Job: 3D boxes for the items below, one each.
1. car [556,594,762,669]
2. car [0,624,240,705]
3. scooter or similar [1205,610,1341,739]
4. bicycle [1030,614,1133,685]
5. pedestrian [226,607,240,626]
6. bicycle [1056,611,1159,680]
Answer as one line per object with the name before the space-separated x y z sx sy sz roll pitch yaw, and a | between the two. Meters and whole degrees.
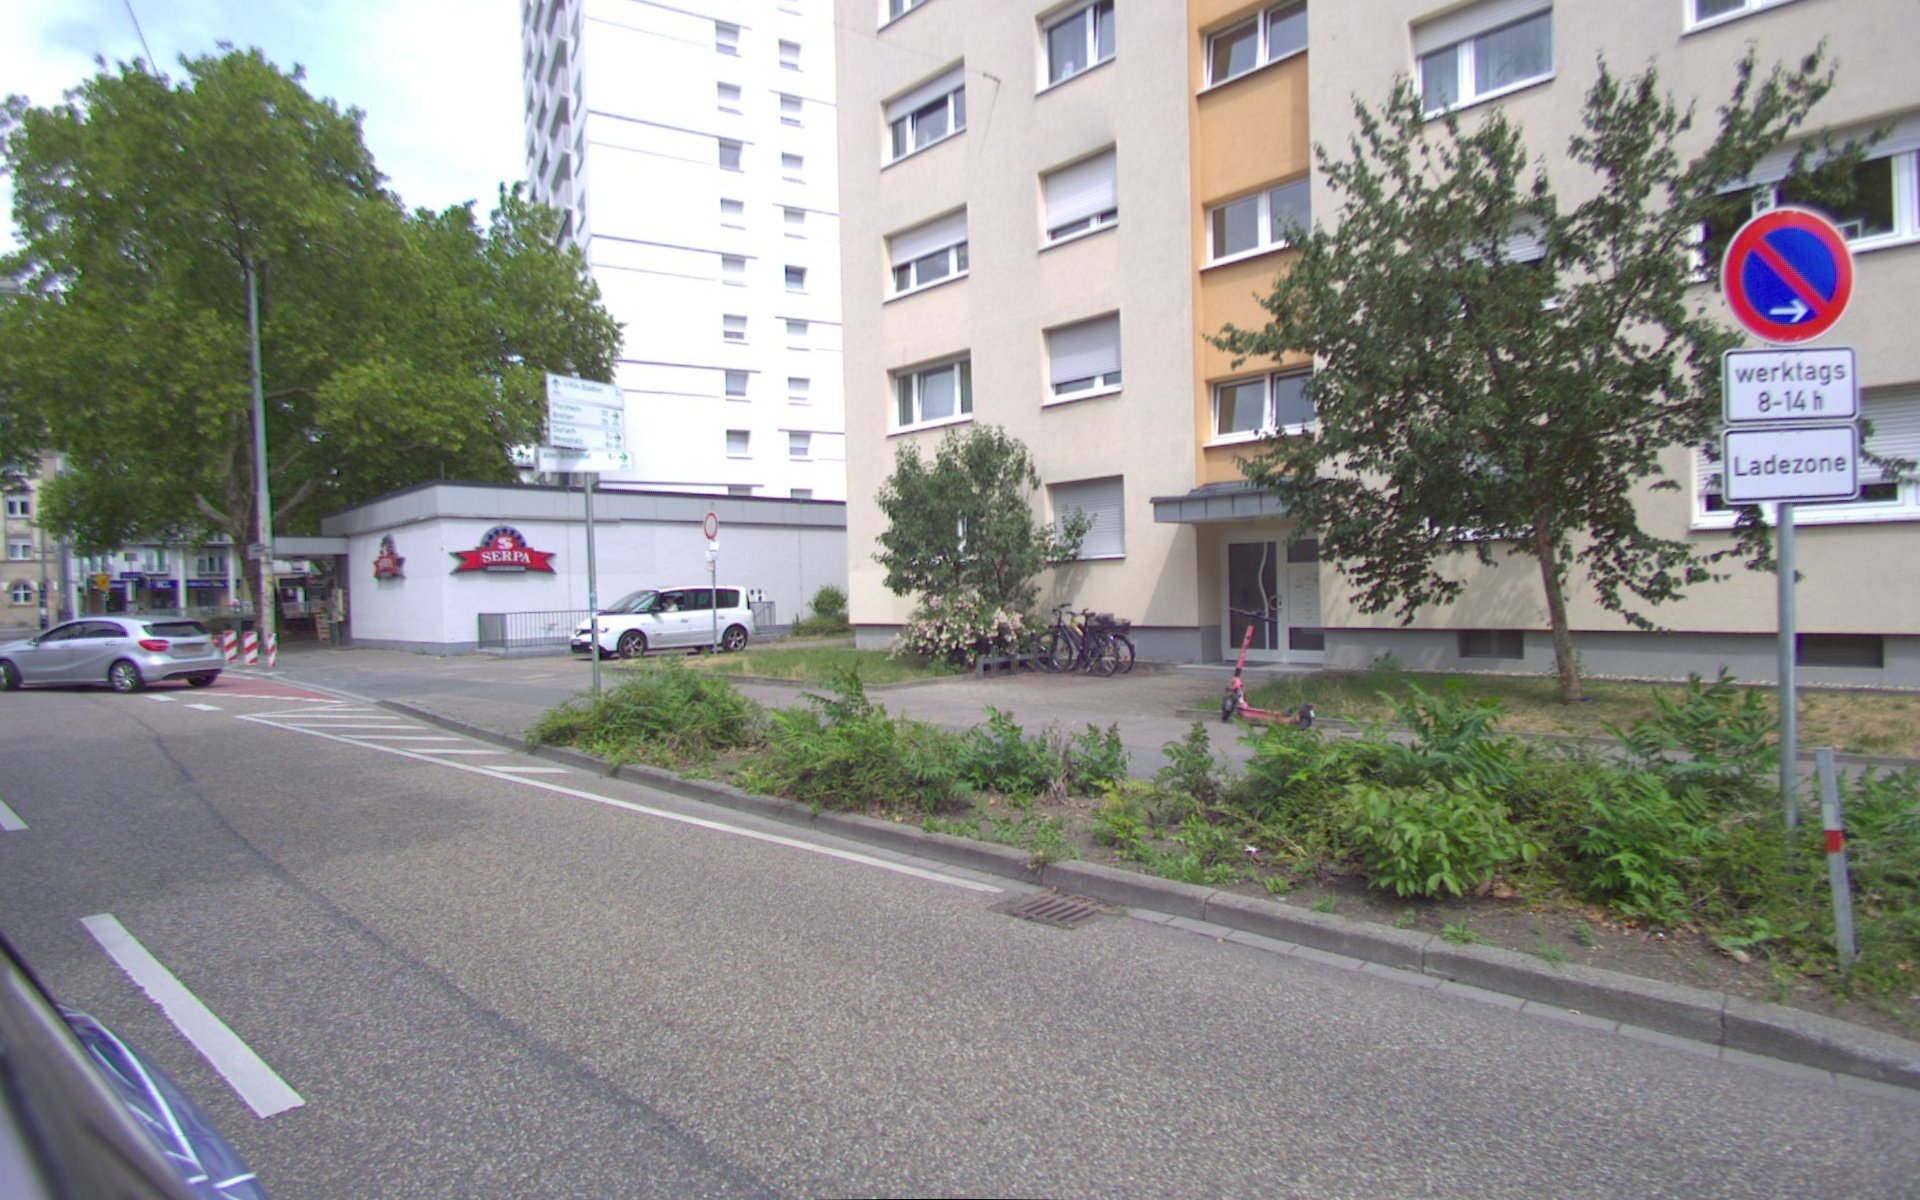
car | -7.420 0.728 25.250 4.575 1.699 1.851 0 -1 -43
car | -16.690 1.230 19.740 4.132 1.461 1.846 -1 -1 5
scooter or similar | 3.155 0.719 10.286 0.396 1.202 1.293 -3 2 -37
bicycle | 1.894 0.758 16.014 0.406 1.045 1.808 -1 0 -40
pedestrian | -59.897 1.370 83.355 0.825 1.564 0.870 -1 0 -30
bicycle | 2.360 0.715 16.376 0.406 1.045 1.807 -1 0 -41
